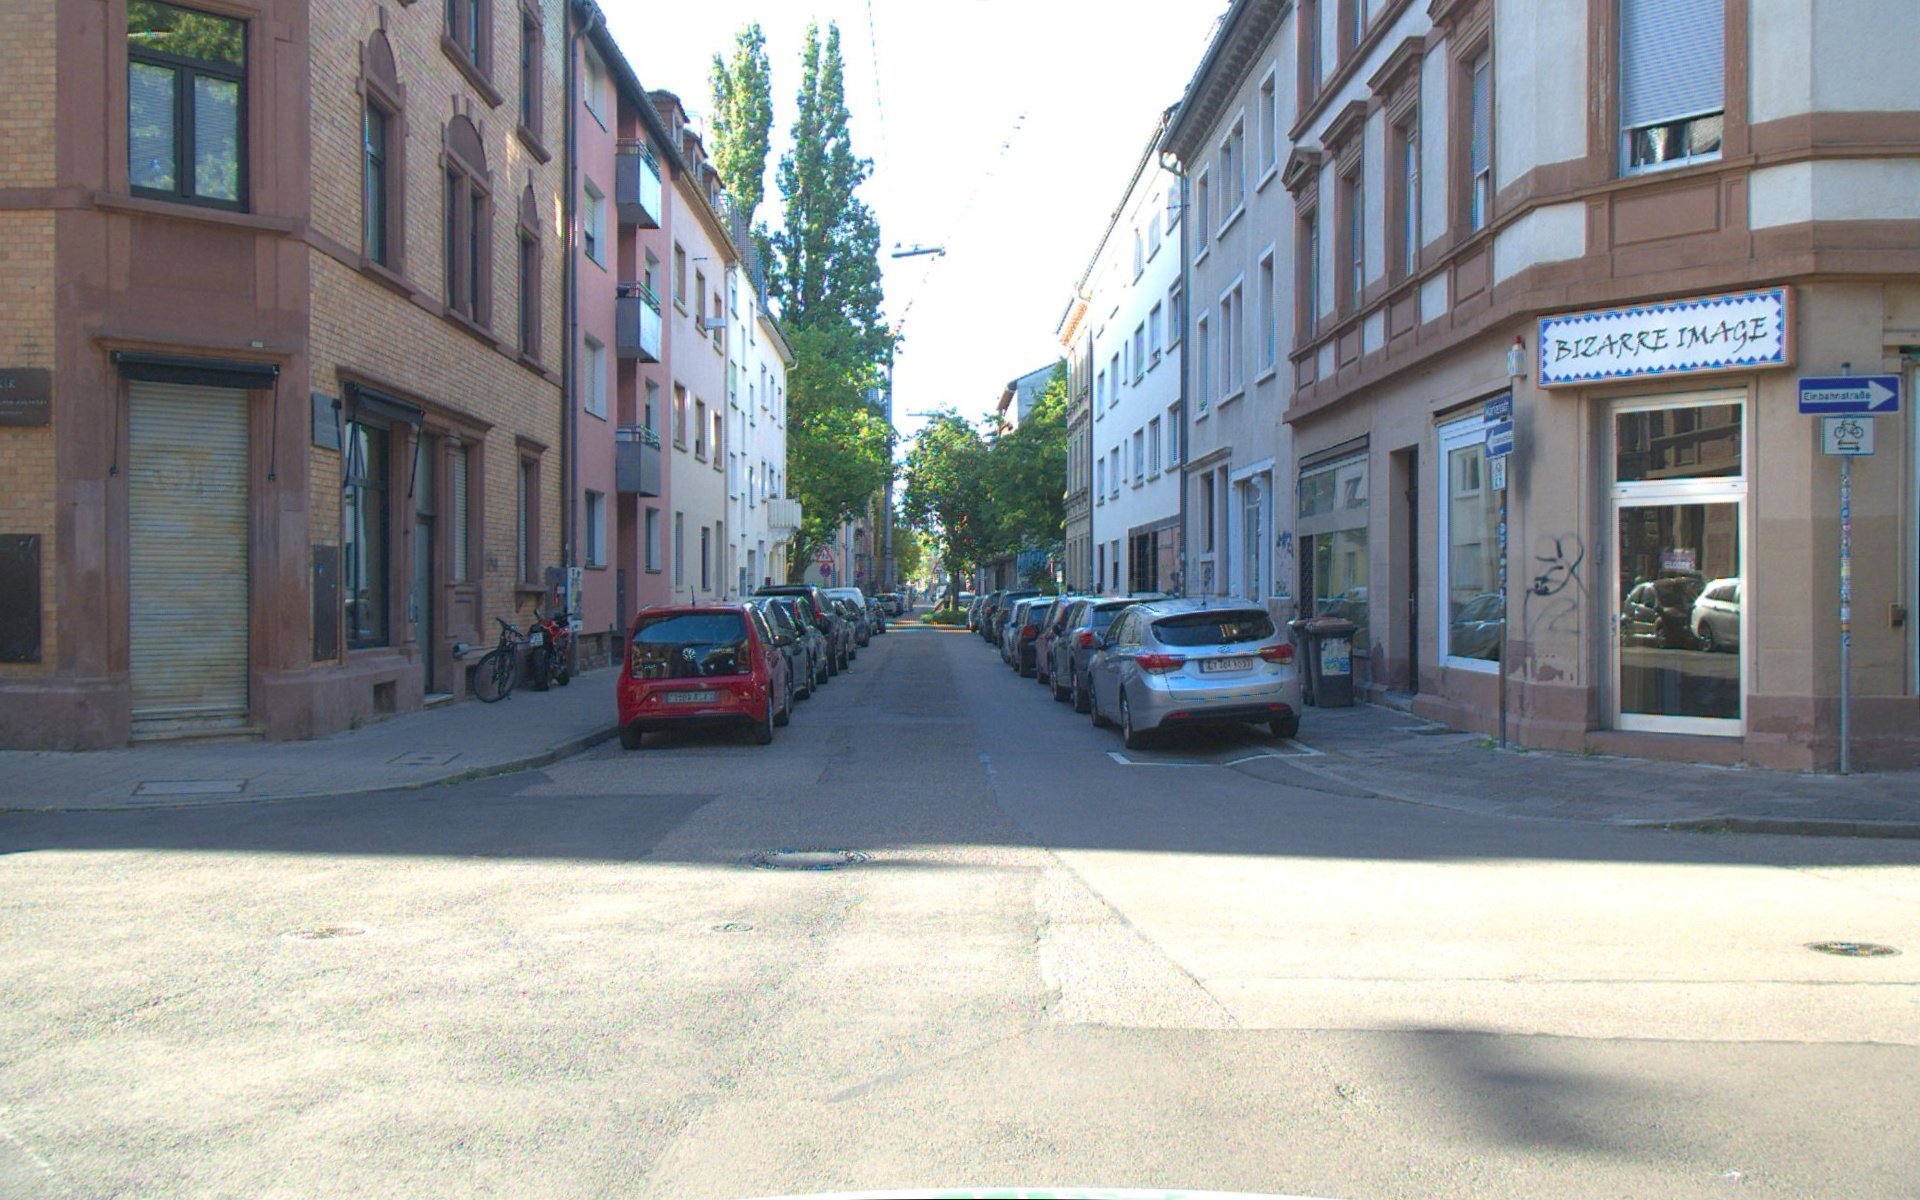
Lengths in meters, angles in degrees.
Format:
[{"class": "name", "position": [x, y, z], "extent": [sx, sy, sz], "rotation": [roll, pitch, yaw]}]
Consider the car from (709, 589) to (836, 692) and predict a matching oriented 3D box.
[{"class": "car", "position": [-3.106, 0.630, 28.114], "extent": [1.622, 1.547, 3.944], "rotation": [-2, 1, 0]}]

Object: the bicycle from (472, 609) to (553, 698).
[{"class": "bicycle", "position": [-5.979, 0.691, 22.203], "extent": [0.522, 1.092, 1.891], "rotation": [4, 0, -1]}]

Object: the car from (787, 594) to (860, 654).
[{"class": "car", "position": [-3.561, 0.595, 43.841], "extent": [1.640, 1.412, 4.181], "rotation": [-2, 1, -1]}]

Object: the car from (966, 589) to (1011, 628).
[{"class": "car", "position": [1.187, 0.325, 69.428], "extent": [1.642, 1.513, 4.093], "rotation": [-2, 1, -2]}]

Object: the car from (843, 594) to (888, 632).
[{"class": "car", "position": [-3.751, 0.505, 65.977], "extent": [1.636, 1.384, 4.048], "rotation": [-2, 1, -1]}]

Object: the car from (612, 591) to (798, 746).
[{"class": "car", "position": [-2.767, 0.689, 18.635], "extent": [1.595, 1.507, 3.600], "rotation": [-2, 1, -2]}]

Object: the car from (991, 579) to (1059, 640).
[{"class": "car", "position": [1.924, 0.272, 49.914], "extent": [1.642, 1.655, 4.249], "rotation": [-4, 0, -2]}]

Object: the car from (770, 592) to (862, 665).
[{"class": "car", "position": [-3.318, 0.618, 38.817], "extent": [1.708, 1.533, 4.346], "rotation": [-2, 1, 1]}]

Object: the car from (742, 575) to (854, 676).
[{"class": "car", "position": [-3.205, 0.461, 33.562], "extent": [1.708, 1.842, 4.672], "rotation": [-2, 1, 1]}]

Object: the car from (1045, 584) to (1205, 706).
[{"class": "car", "position": [2.259, 0.566, 23.606], "extent": [1.709, 1.533, 4.020], "rotation": [-2, 1, -2]}]

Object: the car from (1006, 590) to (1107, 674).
[{"class": "car", "position": [1.898, 0.596, 33.549], "extent": [1.642, 1.533, 3.936], "rotation": [-2, 1, -2]}]

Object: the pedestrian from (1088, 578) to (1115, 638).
[{"class": "pedestrian", "position": [4.029, 0.223, 47.121], "extent": [0.672, 1.689, 0.717], "rotation": [-1, 0, -2]}]

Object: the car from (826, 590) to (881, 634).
[{"class": "car", "position": [-3.928, 0.423, 61.633], "extent": [1.635, 1.495, 3.821], "rotation": [-2, 1, 2]}]

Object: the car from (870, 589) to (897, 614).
[{"class": "car", "position": [-4.935, 0.090, 107.050], "extent": [1.642, 1.513, 4.093], "rotation": [-2, 1, -2]}]

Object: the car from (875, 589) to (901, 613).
[{"class": "car", "position": [-4.866, 0.074, 112.265], "extent": [1.642, 1.513, 4.093], "rotation": [-2, 1, -2]}]

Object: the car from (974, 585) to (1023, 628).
[{"class": "car", "position": [1.483, 0.237, 64.531], "extent": [1.642, 1.588, 3.795], "rotation": [-2, 1, -2]}]

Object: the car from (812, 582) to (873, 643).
[{"class": "car", "position": [-3.697, 0.373, 52.762], "extent": [1.729, 1.816, 4.038], "rotation": [-2, 1, -2]}]

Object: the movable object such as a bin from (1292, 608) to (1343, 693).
[{"class": "movable object such as a bin", "position": [4.642, 0.650, 21.490], "extent": [0.503, 1.058, 0.594], "rotation": [-2, 0, -1]}]

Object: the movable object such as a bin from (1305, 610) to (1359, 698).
[{"class": "movable object such as a bin", "position": [4.656, 0.667, 20.736], "extent": [0.503, 1.058, 0.619], "rotation": [-2, 0, -1]}]

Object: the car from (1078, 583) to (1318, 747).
[{"class": "car", "position": [2.474, 0.613, 18.255], "extent": [1.709, 1.533, 4.354], "rotation": [-2, 1, -4]}]

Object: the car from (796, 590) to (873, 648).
[{"class": "car", "position": [-3.607, 0.521, 48.233], "extent": [1.638, 1.512, 3.994], "rotation": [-2, 1, 4]}]

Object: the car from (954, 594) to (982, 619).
[{"class": "car", "position": [0.505, 0.420, 108.282], "extent": [1.642, 1.513, 3.636], "rotation": [-2, 1, -2]}]

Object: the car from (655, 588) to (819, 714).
[{"class": "car", "position": [-3.041, 0.641, 23.293], "extent": [1.660, 1.547, 4.096], "rotation": [-2, 1, 0]}]

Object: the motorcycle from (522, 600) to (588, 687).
[{"class": "motorcycle", "position": [-6.009, 0.619, 24.621], "extent": [0.522, 1.227, 1.908], "rotation": [0, 0, -1]}]

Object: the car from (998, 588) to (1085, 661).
[{"class": "car", "position": [1.818, 0.511, 38.110], "extent": [1.642, 1.533, 3.936], "rotation": [-2, 1, -2]}]

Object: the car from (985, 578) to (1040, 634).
[{"class": "car", "position": [1.697, 0.200, 54.953], "extent": [1.641, 1.711, 4.094], "rotation": [-2, 0, 0]}]

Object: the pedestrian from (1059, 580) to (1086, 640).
[{"class": "pedestrian", "position": [3.204, 0.288, 47.257], "extent": [0.672, 1.689, 0.717], "rotation": [-1, 0, -2]}]

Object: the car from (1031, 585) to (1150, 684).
[{"class": "car", "position": [2.186, 0.539, 28.664], "extent": [1.566, 1.533, 4.183], "rotation": [-2, 1, -2]}]
